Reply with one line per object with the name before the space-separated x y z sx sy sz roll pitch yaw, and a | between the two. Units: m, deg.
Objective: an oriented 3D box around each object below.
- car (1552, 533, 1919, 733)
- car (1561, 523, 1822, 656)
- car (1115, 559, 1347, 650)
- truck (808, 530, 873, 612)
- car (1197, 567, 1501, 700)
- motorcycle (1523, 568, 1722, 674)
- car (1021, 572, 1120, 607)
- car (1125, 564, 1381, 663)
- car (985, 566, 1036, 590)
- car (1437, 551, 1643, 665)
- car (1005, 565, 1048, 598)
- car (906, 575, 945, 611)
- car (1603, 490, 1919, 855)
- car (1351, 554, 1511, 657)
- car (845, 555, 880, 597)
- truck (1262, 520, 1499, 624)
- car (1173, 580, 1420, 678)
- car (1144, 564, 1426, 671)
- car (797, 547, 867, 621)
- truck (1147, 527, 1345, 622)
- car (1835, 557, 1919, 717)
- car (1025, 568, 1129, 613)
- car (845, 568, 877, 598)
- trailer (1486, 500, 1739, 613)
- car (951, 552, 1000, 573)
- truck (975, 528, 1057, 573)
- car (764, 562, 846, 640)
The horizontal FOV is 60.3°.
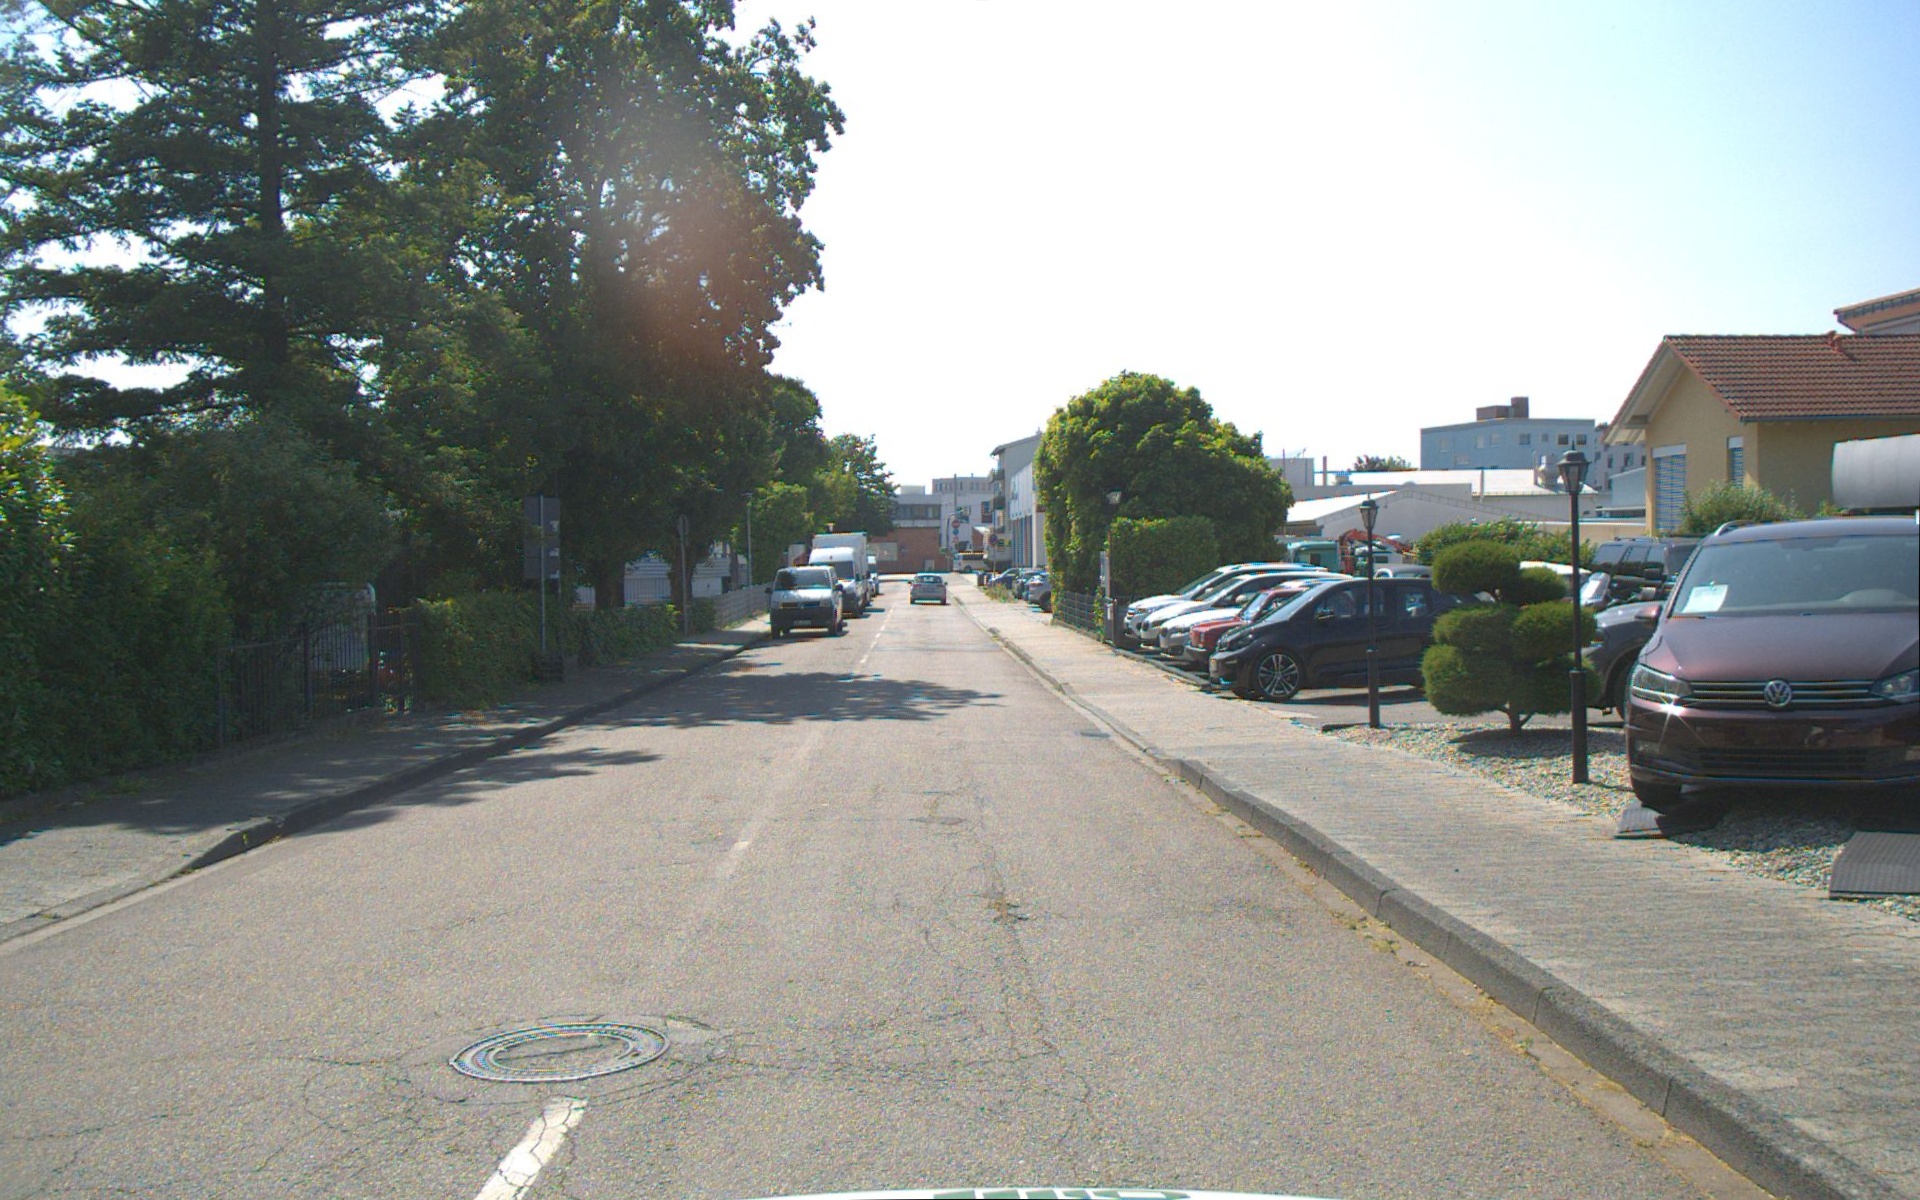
car | 8.412 0.284 16.030 4.881 1.793 1.924 -1 1 24
car | 12.562 -0.196 28.821 1.955 2.048 4.901 -2 1 -6
car | 5.429 0.063 33.447 4.316 1.682 1.842 -1 1 -4
truck | -5.369 -1.270 74.177 2.633 3.425 7.124 -2 1 -4
car | 5.300 0.426 22.828 3.727 1.652 1.758 -2 1 -3
motorcycle | 9.865 0.298 24.664 2.635 1.458 1.007 -2 1 -13
car | 4.971 -0.490 74.709 4.265 1.466 1.891 -2 1 -3
car | 5.445 0.237 31.011 4.320 1.554 1.894 -3 0 -7
car | 3.201 -1.411 105.210 3.187 1.423 1.673 -2 2 -1
car | 9.798 0.101 28.275 1.954 1.758 3.998 -1 1 -2
car | 3.487 -0.997 87.517 1.821 1.595 4.950 -2 2 -2
car | -1.740 -0.346 81.682 1.852 1.714 3.956 -1 0 -2
car | 5.405 0.330 10.334 1.813 1.813 4.281 -2 0 32
car | 9.142 0.100 32.423 1.953 1.892 3.787 0 0 -2
car | -6.058 -1.550 103.166 1.966 2.407 5.227 -4 2 -3
truck | 15.637 -1.055 61.923 8.105 3.674 2.954 -1 1 1
car | 5.211 0.430 25.840 3.479 1.358 1.558 -2 0 -3
car | 5.515 0.285 28.340 4.320 1.523 1.894 -3 0 -7
car | -4.912 -0.644 64.300 2.124 2.641 6.920 -3 1 0
truck | 11.341 -1.024 66.062 7.366 3.482 2.526 2 1 -2
car | 12.021 0.323 17.619 4.467 1.664 1.926 -2 -1 20
car | 4.830 -0.402 68.578 4.117 1.711 1.766 2 1 -3
car | -5.880 -1.008 98.003 1.672 1.652 3.969 -3 1 -6
trailer | 24.128 -1.599 61.533 8.159 3.930 3.069 -1 1 4
car | 1.544 -3.758 164.749 4.587 1.991 1.905 -2 2 -21
truck | 5.294 -4.662 156.440 7.222 3.707 2.763 -4 2 -8
car | -4.464 -0.018 48.327 1.932 2.048 5.055 -3 1 -1
